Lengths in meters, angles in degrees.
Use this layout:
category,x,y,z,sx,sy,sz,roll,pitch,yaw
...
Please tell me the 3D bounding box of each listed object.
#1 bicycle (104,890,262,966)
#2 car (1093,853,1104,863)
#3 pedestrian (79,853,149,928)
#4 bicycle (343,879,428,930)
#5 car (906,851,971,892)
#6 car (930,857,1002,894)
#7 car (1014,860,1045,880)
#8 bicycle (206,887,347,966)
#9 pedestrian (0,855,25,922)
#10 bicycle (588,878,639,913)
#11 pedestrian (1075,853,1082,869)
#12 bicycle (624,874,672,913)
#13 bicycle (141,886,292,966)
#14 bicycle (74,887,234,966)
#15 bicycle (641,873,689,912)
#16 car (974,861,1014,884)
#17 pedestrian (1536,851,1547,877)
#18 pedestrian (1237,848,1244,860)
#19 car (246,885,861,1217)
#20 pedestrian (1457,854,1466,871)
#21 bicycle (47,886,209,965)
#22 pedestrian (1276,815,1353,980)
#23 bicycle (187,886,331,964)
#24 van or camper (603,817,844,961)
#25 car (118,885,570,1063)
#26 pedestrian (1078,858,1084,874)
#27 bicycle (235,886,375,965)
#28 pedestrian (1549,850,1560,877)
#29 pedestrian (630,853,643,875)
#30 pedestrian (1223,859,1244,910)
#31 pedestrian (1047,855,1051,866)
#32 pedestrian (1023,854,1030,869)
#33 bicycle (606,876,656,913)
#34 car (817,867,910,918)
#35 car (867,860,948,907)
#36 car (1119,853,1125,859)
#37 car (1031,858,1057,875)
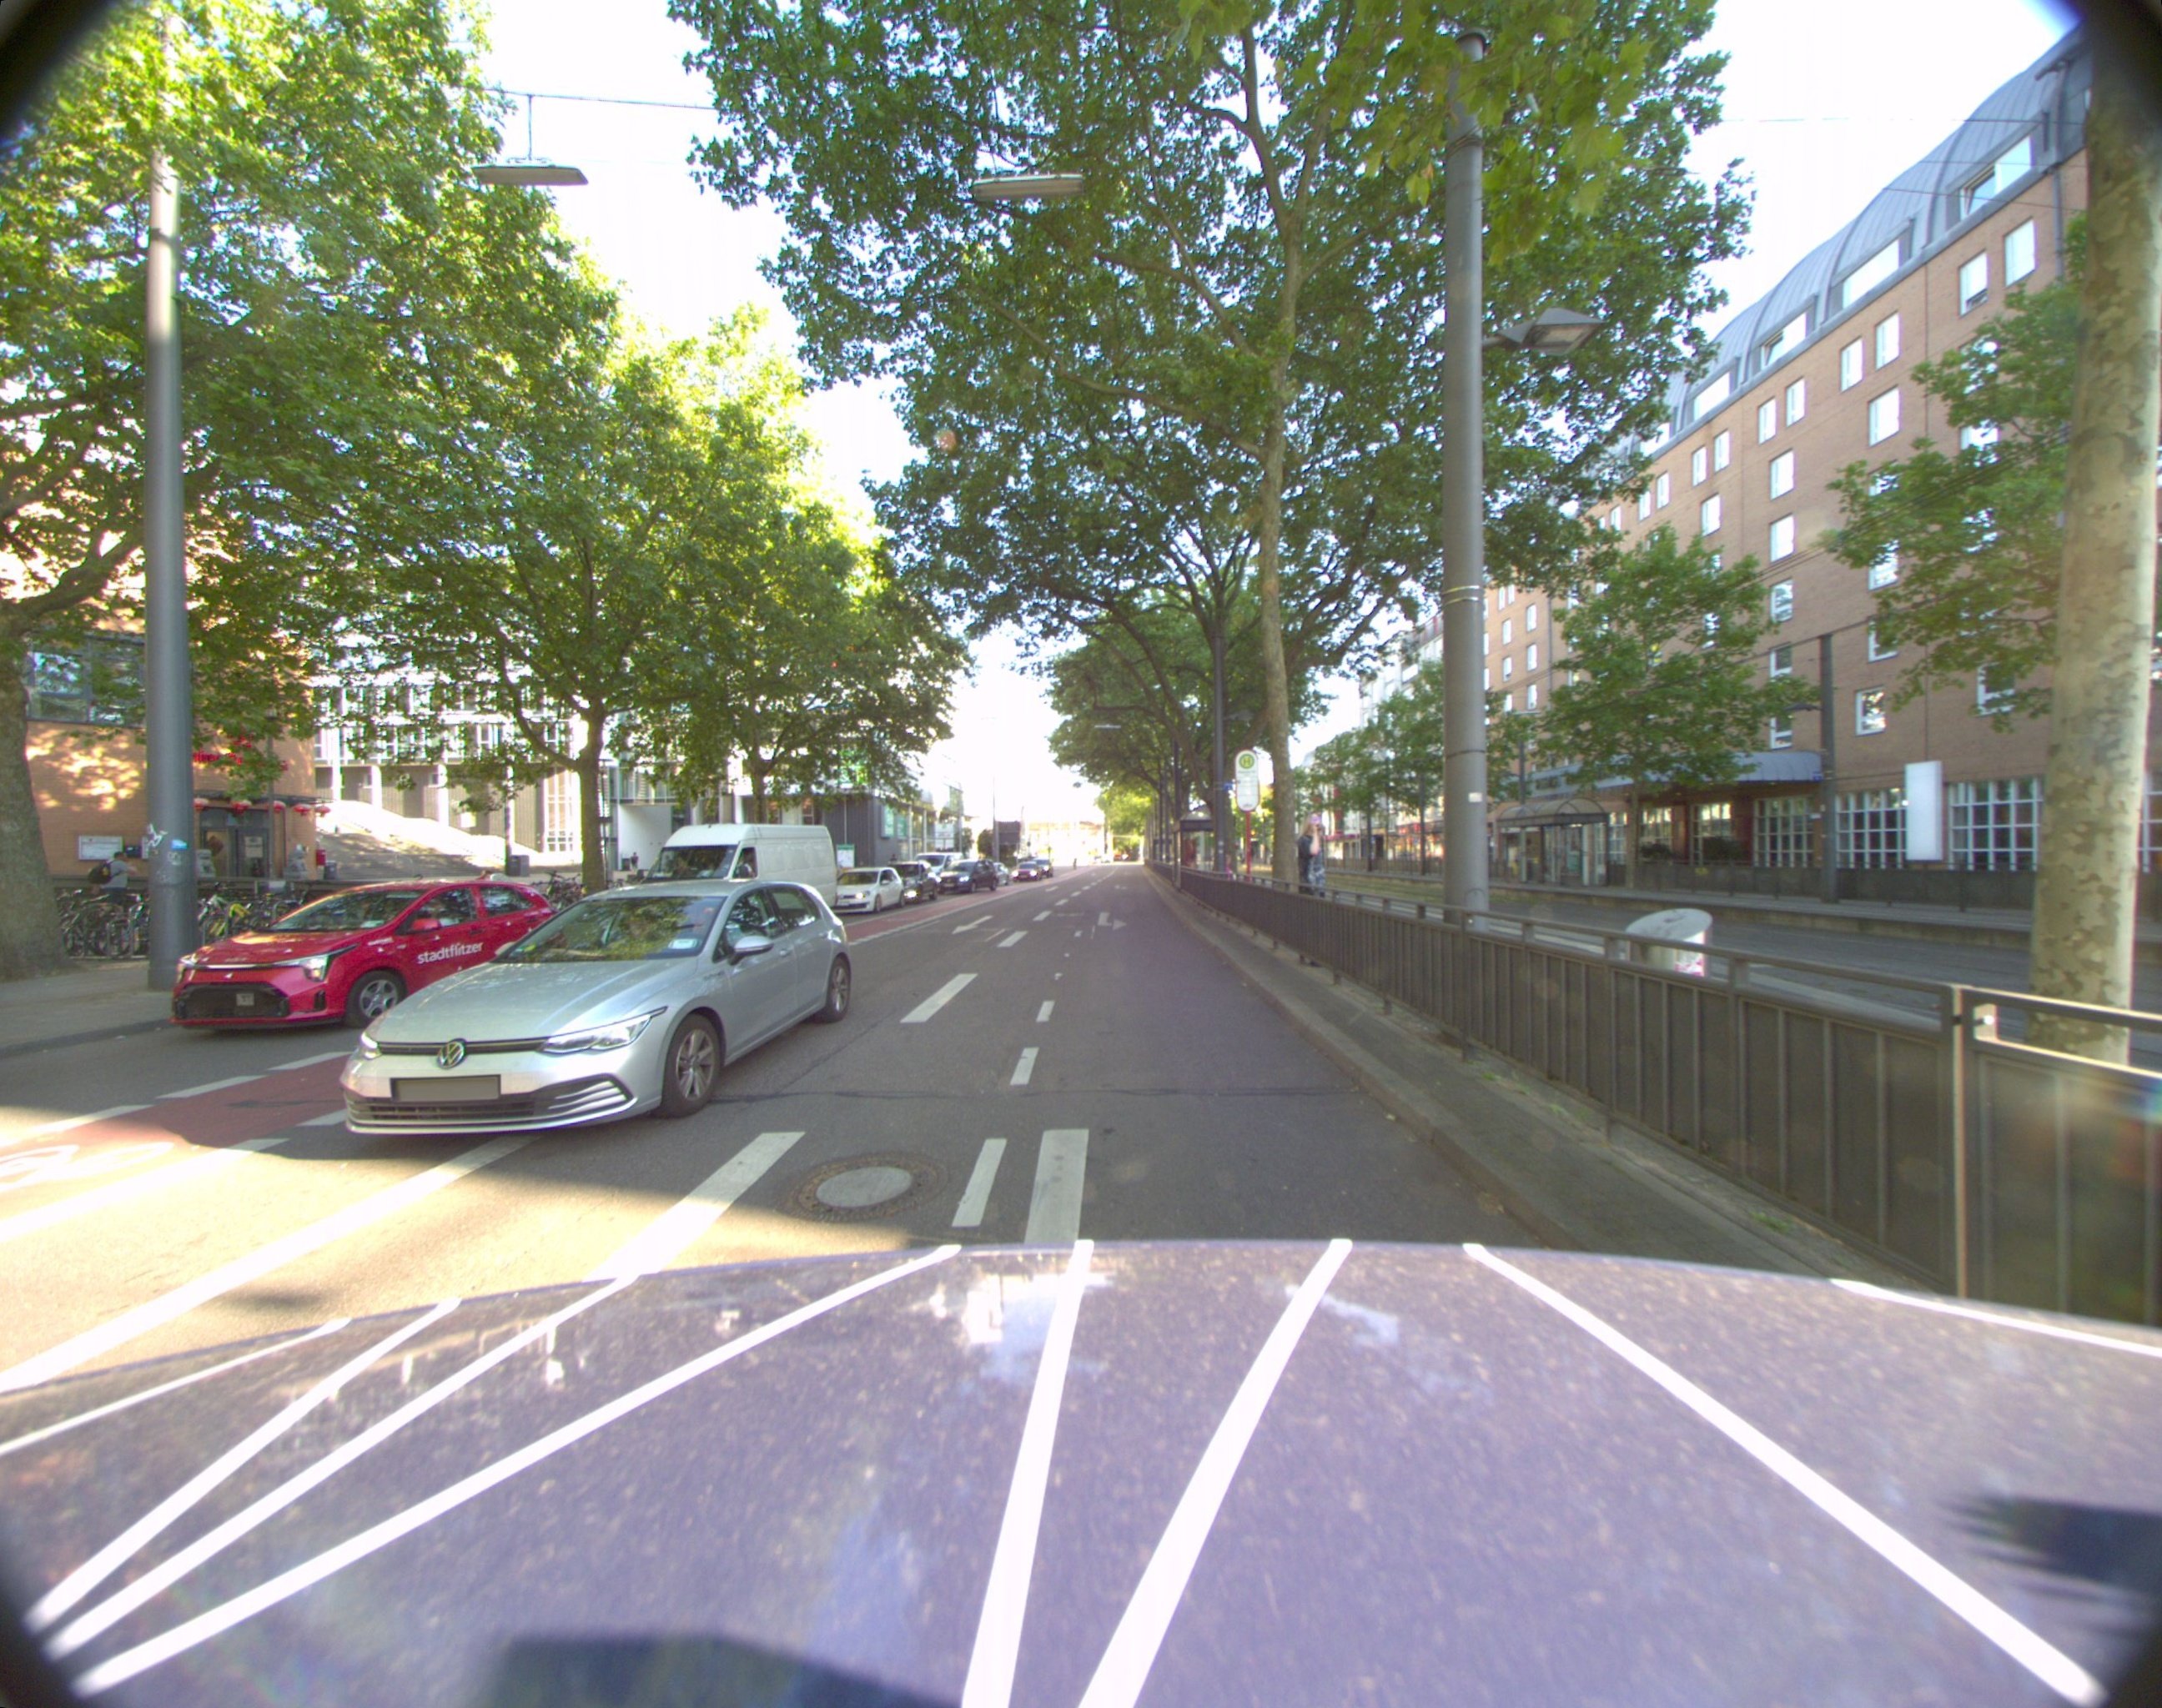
category,x,y,z,sx,sy,sz,roll,pitch,yaw
bicycle,-15.427,1.234,13.135,0.485,1.118,1.850,0,0,1
car,3.832,0.849,164.112,1.997,2.002,4.002,-1,0,6
pedestrian,-23.421,0.858,18.420,0.601,1.773,0.889,0,1,23
bicycle,-17.885,1.284,19.593,0.517,1.187,1.790,0,0,1
car,-7.482,0.860,40.472,1.965,1.983,4.960,-1,0,7
car,-5.532,1.014,37.108,1.964,1.610,4.335,-1,0,14
car,-3.771,1.161,56.365,1.801,1.369,4.001,0,0,3
bicycle,-13.822,1.202,13.136,0.448,1.187,1.850,0,0,1
pedestrian,-32.999,1.054,23.148,0.875,2.025,0.586,0,1,6
bicycle,-15.222,1.322,24.795,0.516,1.027,1.850,0,0,1
pedestrian,-0.352,0.886,98.740,0.773,2.002,0.830,-2,1,1
bicycle,-14.117,1.259,24.821,0.495,1.187,1.850,0,0,1
bicycle,-14.844,1.197,13.126,0.447,1.187,1.850,0,0,1
bicycle,-15.926,1.201,13.137,0.458,1.187,1.850,0,0,1
bicycle,-13.574,1.242,24.842,0.522,1.187,1.850,0,0,1
car,-5.493,1.164,48.381,1.801,1.369,4.001,0,0,3
pedestrian,26.158,0.571,43.143,0.438,1.497,0.659,0,1,23
pedestrian,27.684,-0.019,132.095,1.015,2.002,1.047,0,1,4
car,-3.228,1.078,5.798,1.733,1.432,4.000,-2,0,2
pedestrian,31.288,0.679,62.535,0.519,1.427,0.516,0,1,4
bicycle,-16.389,1.196,13.140,0.435,1.187,1.850,0,0,1
pedestrian,2.758,0.482,9.003,0.607,1.873,0.622,-2,3,-19
bicycle,-14.328,1.198,13.326,0.484,1.187,1.850,0,0,1
van or camper,-7.528,0.625,17.099,1.998,2.563,6.575,-2,0,3
car,-7.952,1.172,8.758,1.606,1.449,3.651,-1,0,0
pedestrian,0.025,1.588,100.577,0.773,2.002,0.830,-2,1,1
bicycle,-13.320,1.192,13.130,0.482,1.187,1.850,0,0,1
pedestrian,26.721,0.543,42.874,0.438,1.511,0.659,0,1,23
pedestrian,-31.794,0.706,54.350,0.719,1.549,0.639,-1,1,-35
pedestrian,3.930,0.777,19.625,0.500,1.308,0.419,0,1,8
pedestrian,-4.569,0.922,108.799,0.611,1.644,0.583,-1,1,1
pedestrian,-5.874,0.815,82.269,0.648,1.644,0.643,-1,1,1
bicycle,-14.661,1.305,24.820,0.522,1.088,1.797,0,0,1
car,-7.021,1.197,24.942,1.682,1.420,4.001,-1,0,3
car,-6.666,1.082,29.669,1.818,1.610,4.229,-1,0,5
car,13.358,0.702,245.811,1.998,2.002,4.001,-1,0,4
car,-3.150,1.050,64.965,1.801,1.438,4.001,0,0,3
